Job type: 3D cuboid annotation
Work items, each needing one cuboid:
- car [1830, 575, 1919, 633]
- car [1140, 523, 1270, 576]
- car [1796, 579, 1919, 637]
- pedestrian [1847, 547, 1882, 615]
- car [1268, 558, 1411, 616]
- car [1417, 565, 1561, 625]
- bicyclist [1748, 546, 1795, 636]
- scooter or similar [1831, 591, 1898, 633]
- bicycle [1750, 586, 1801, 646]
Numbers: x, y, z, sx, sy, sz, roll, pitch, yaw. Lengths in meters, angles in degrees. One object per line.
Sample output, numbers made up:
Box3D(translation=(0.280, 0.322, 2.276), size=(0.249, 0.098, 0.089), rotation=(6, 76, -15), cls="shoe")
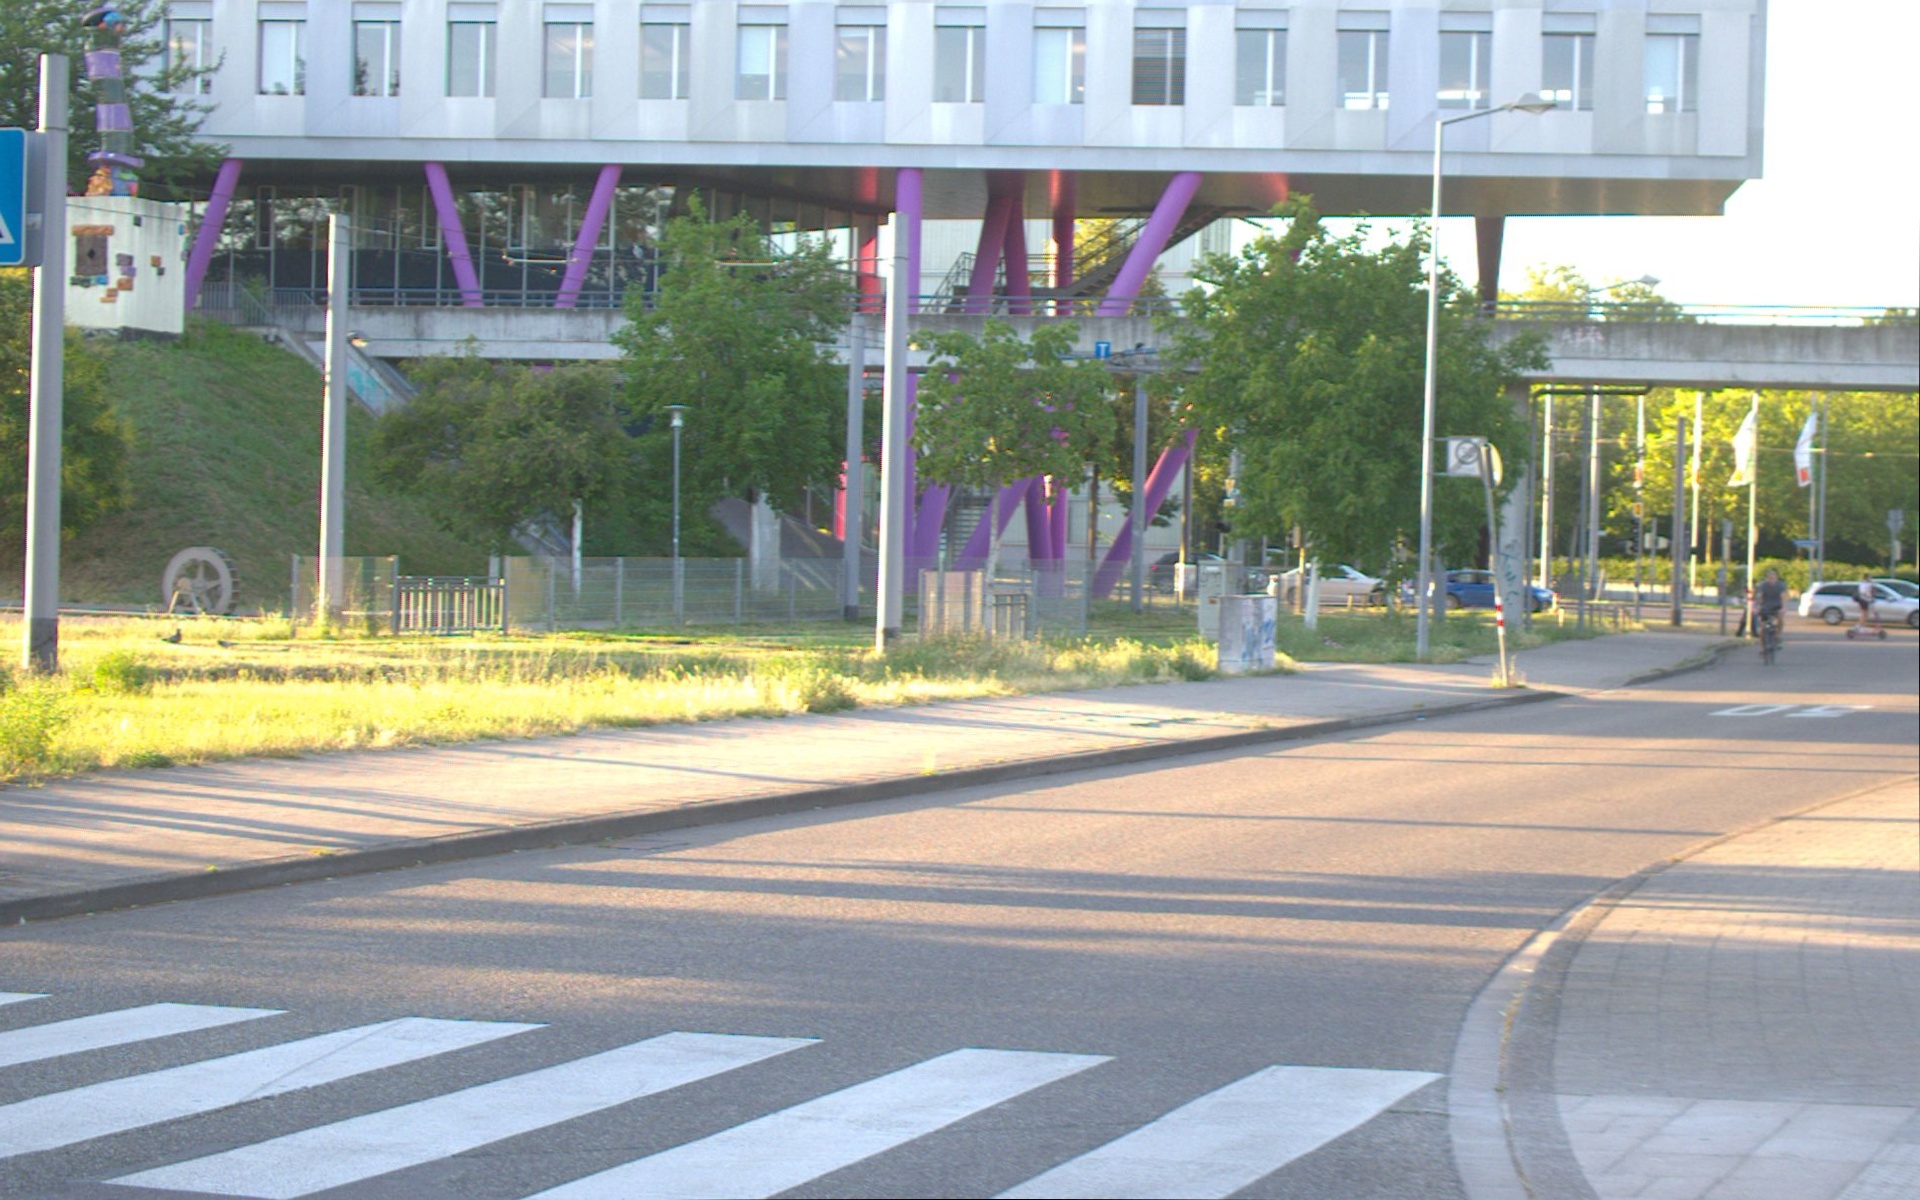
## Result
Box3D(translation=(31.748, 0.154, 116.003), size=(4.419, 1.793, 1.833), rotation=(2, 3, 21), cls="car")
Box3D(translation=(9.164, -1.914, 128.655), size=(4.471, 1.810, 1.943), rotation=(2, 2, 19), cls="car")
Box3D(translation=(29.928, 0.270, 113.308), size=(4.418, 1.718, 1.833), rotation=(2, 2, 19), cls="car")
Box3D(translation=(26.903, -0.572, 102.241), size=(0.909, 1.983, 0.771), rotation=(2, 2, 12), cls="pedestrian")
Box3D(translation=(13.406, -0.473, 121.423), size=(4.692, 1.822, 1.833), rotation=(2, 3, 21), cls="car")
Box3D(translation=(17.961, -0.177, 116.724), size=(4.716, 1.822, 1.892), rotation=(2, 2, 11), cls="car")
Box3D(translation=(15.362, -0.180, 65.050), size=(0.615, 1.657, 1.035), rotation=(2, 3, 25), cls="bicyclist")
Box3D(translation=(26.904, 0.344, 102.262), size=(1.861, 1.170, 0.764), rotation=(2, 2, 12), cls="scooter or similar")
Box3D(translation=(15.426, 0.297, 65.020), size=(0.539, 1.039, 1.922), rotation=(2, 3, 25), cls="bicycle")
